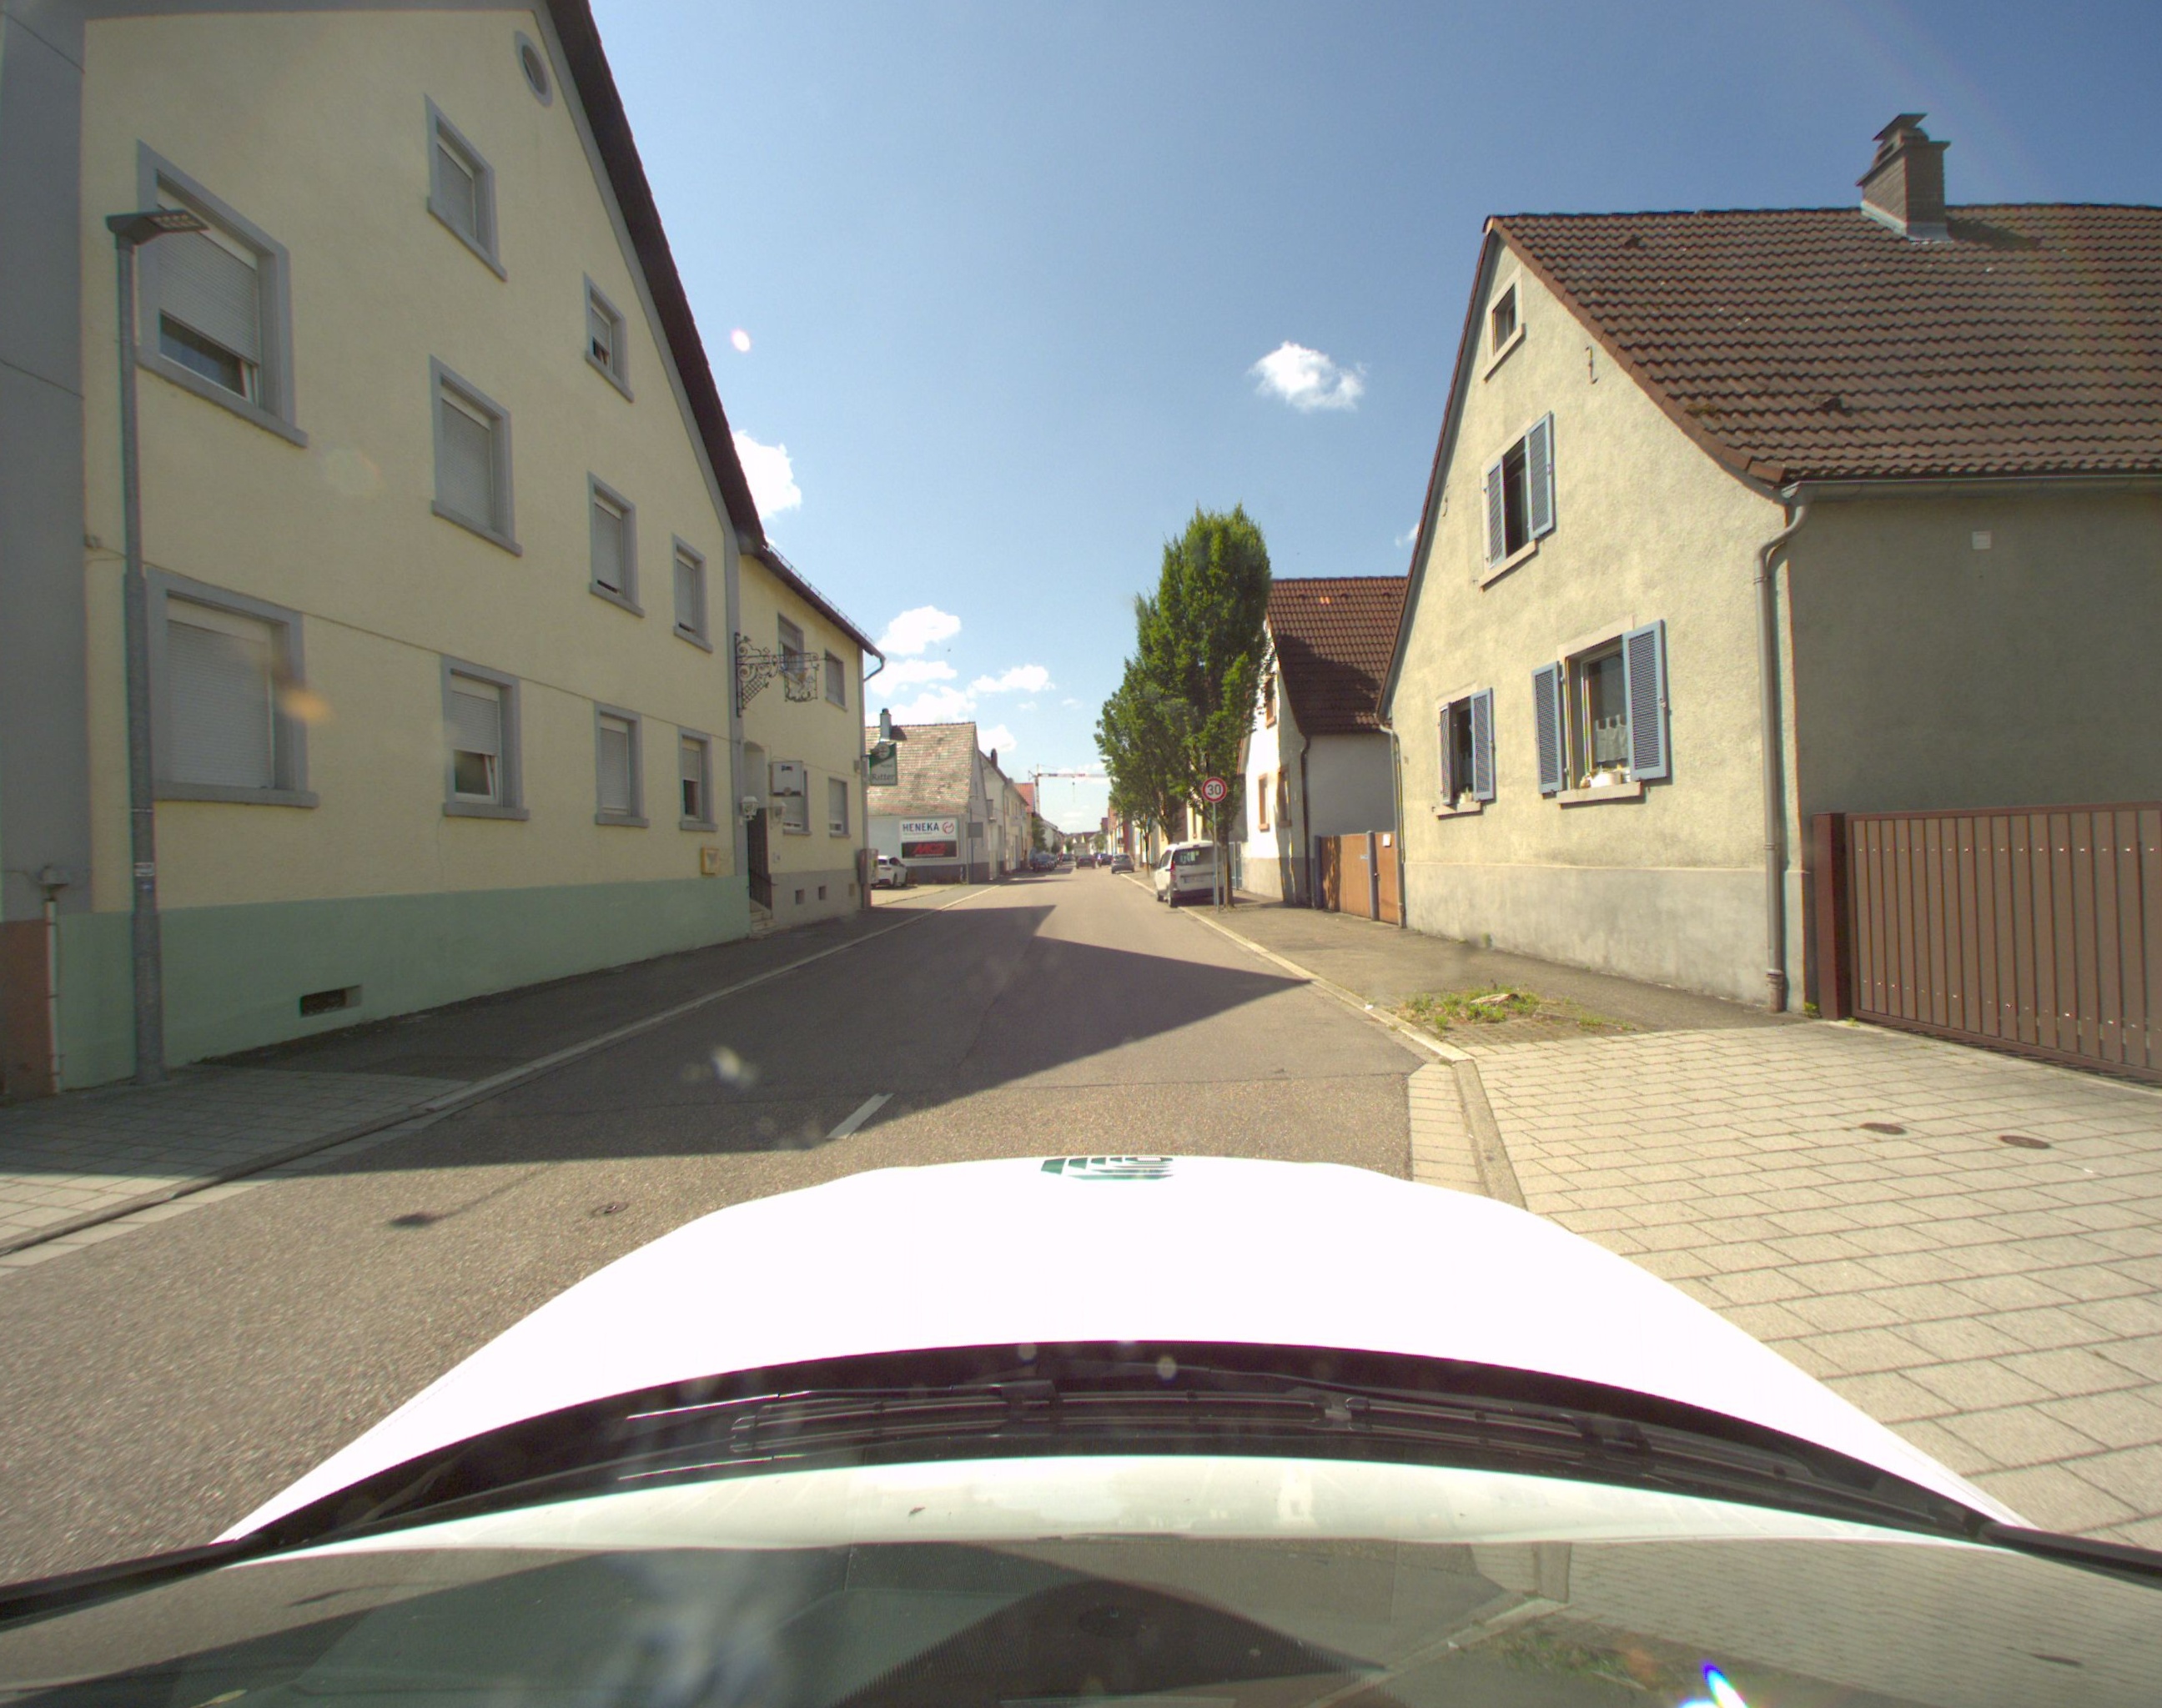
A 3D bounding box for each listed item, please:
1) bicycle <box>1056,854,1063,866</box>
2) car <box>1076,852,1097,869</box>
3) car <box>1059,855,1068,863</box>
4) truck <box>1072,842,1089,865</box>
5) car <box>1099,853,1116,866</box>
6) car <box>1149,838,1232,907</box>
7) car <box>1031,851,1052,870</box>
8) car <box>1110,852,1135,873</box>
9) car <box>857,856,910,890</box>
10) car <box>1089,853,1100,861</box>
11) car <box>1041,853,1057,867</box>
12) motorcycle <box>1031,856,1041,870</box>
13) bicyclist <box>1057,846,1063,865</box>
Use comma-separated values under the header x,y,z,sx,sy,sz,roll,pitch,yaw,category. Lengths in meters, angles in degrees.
x,y,z,sx,sy,sz,roll,pitch,yaw,category
-2.398,0.705,92.863,0.749,1.308,2.684,-1,0,-1,bicycle
0.556,0.644,80.283,1.895,1.563,4.477,-2,0,1,car
-3.633,0.944,170.207,1.804,1.589,3.998,-2,0,-1,car
-0.083,-0.018,157.747,3.134,4.250,9.303,-1,0,1,truck
2.875,0.594,89.394,1.714,1.355,4.156,-2,0,0,car
3.159,0.501,24.283,1.715,1.790,4.141,-4,0,-2,car
-3.640,0.578,75.187,1.804,1.589,3.998,-2,0,-1,car
3.079,0.607,61.024,1.713,1.461,4.158,-2,0,1,car
-9.764,0.916,40.589,1.715,1.556,4.196,-1,0,-2,car
2.253,0.454,138.264,1.714,1.268,4.156,-2,0,0,car
-3.970,0.728,100.438,1.804,1.589,3.998,-2,0,-1,car
-3.919,0.780,71.353,0.844,1.170,2.467,-1,0,-2,motorcycle
-2.403,0.172,92.860,0.738,2.059,0.844,-1,-1,-1,bicyclist
